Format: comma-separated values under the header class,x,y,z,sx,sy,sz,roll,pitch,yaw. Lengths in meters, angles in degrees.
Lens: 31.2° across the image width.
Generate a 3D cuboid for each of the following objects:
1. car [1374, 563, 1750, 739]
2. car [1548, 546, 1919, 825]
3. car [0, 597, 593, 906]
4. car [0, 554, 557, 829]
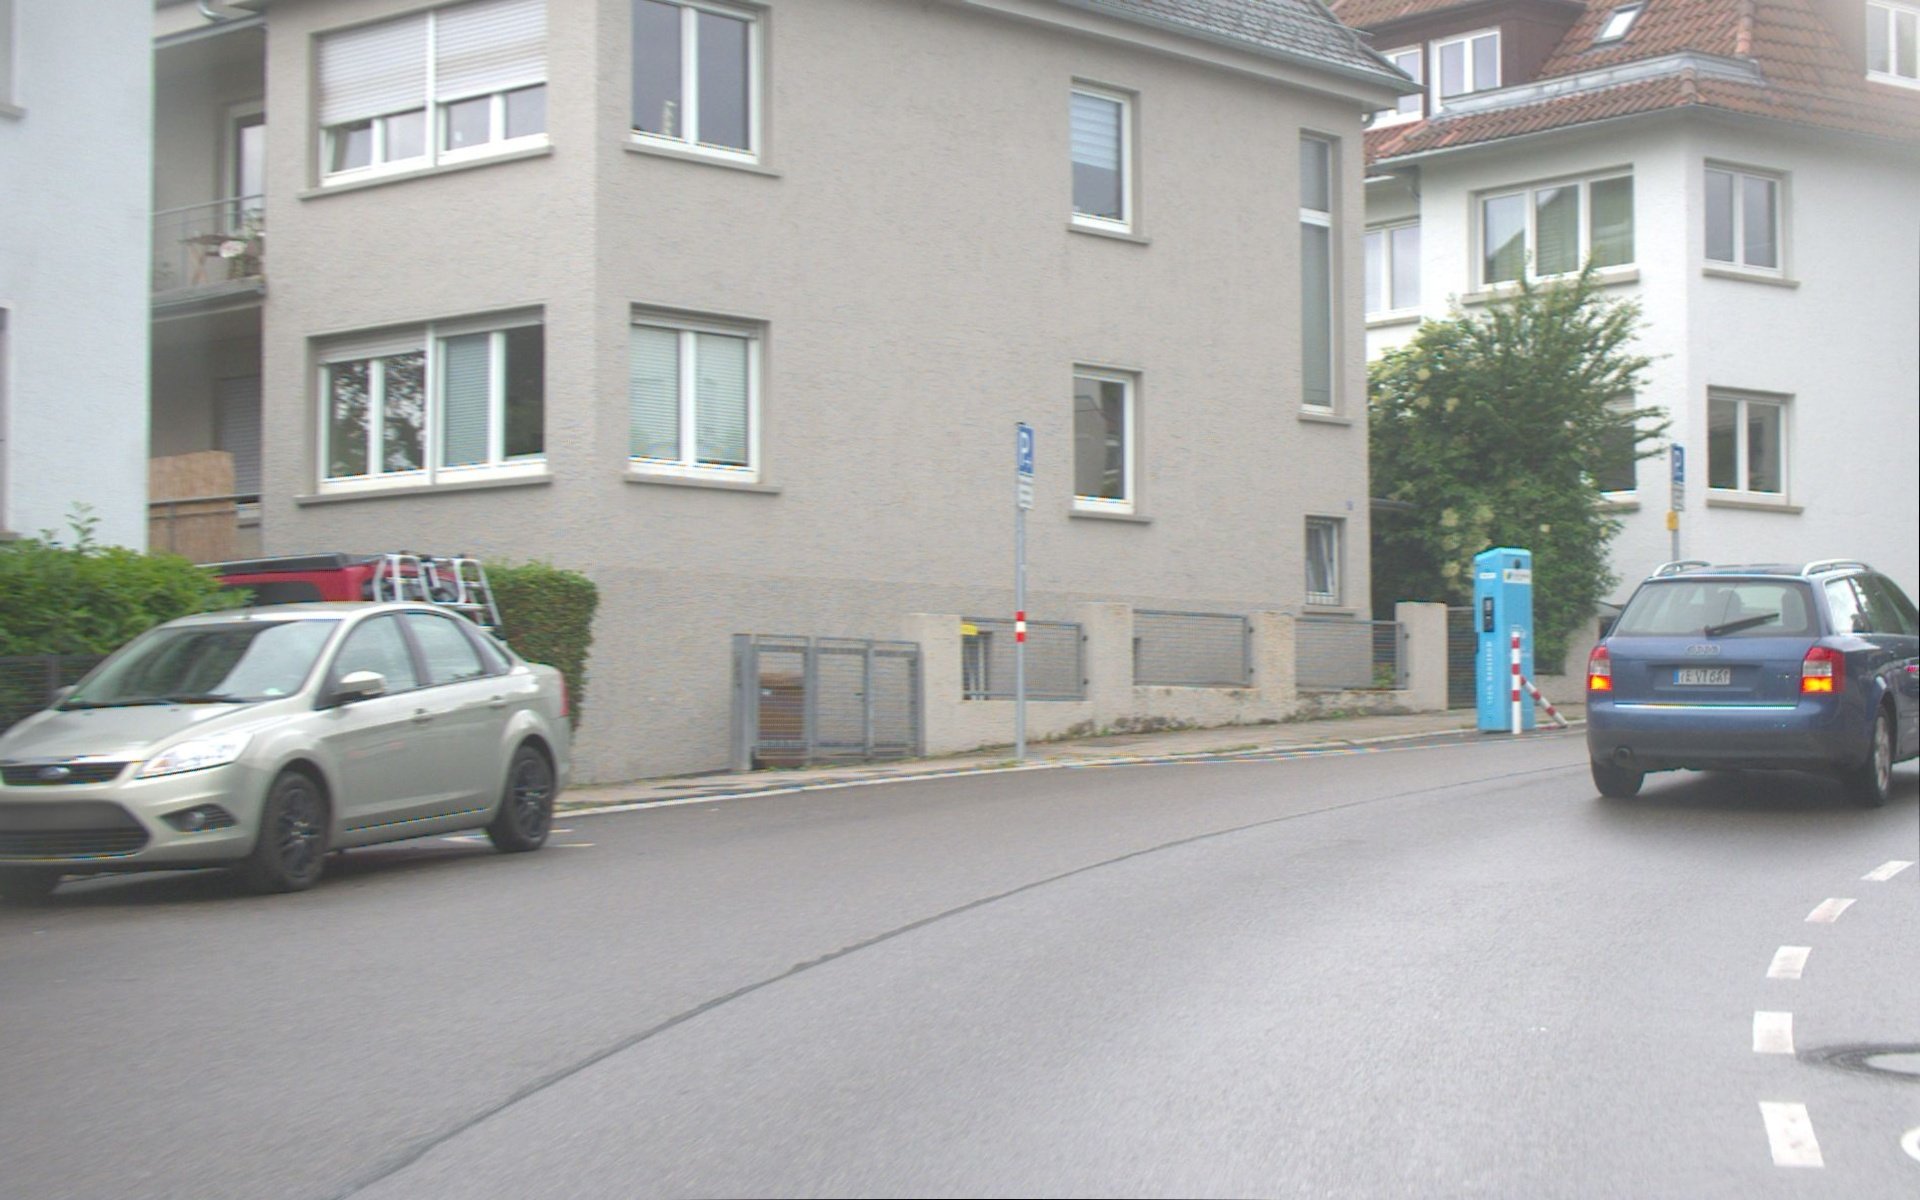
class,x,y,z,sx,sy,sz,roll,pitch,yaw
car,7.489,0.663,43.121,1.994,1.618,4.251,-2,-7,-38
car,5.187,0.448,21.538,1.814,1.434,4.076,3,3,27
car,-3.761,0.749,18.718,1.837,1.420,4.225,-2,0,19
car,-5.518,0.729,27.448,3.992,1.817,1.997,-5,-1,25
